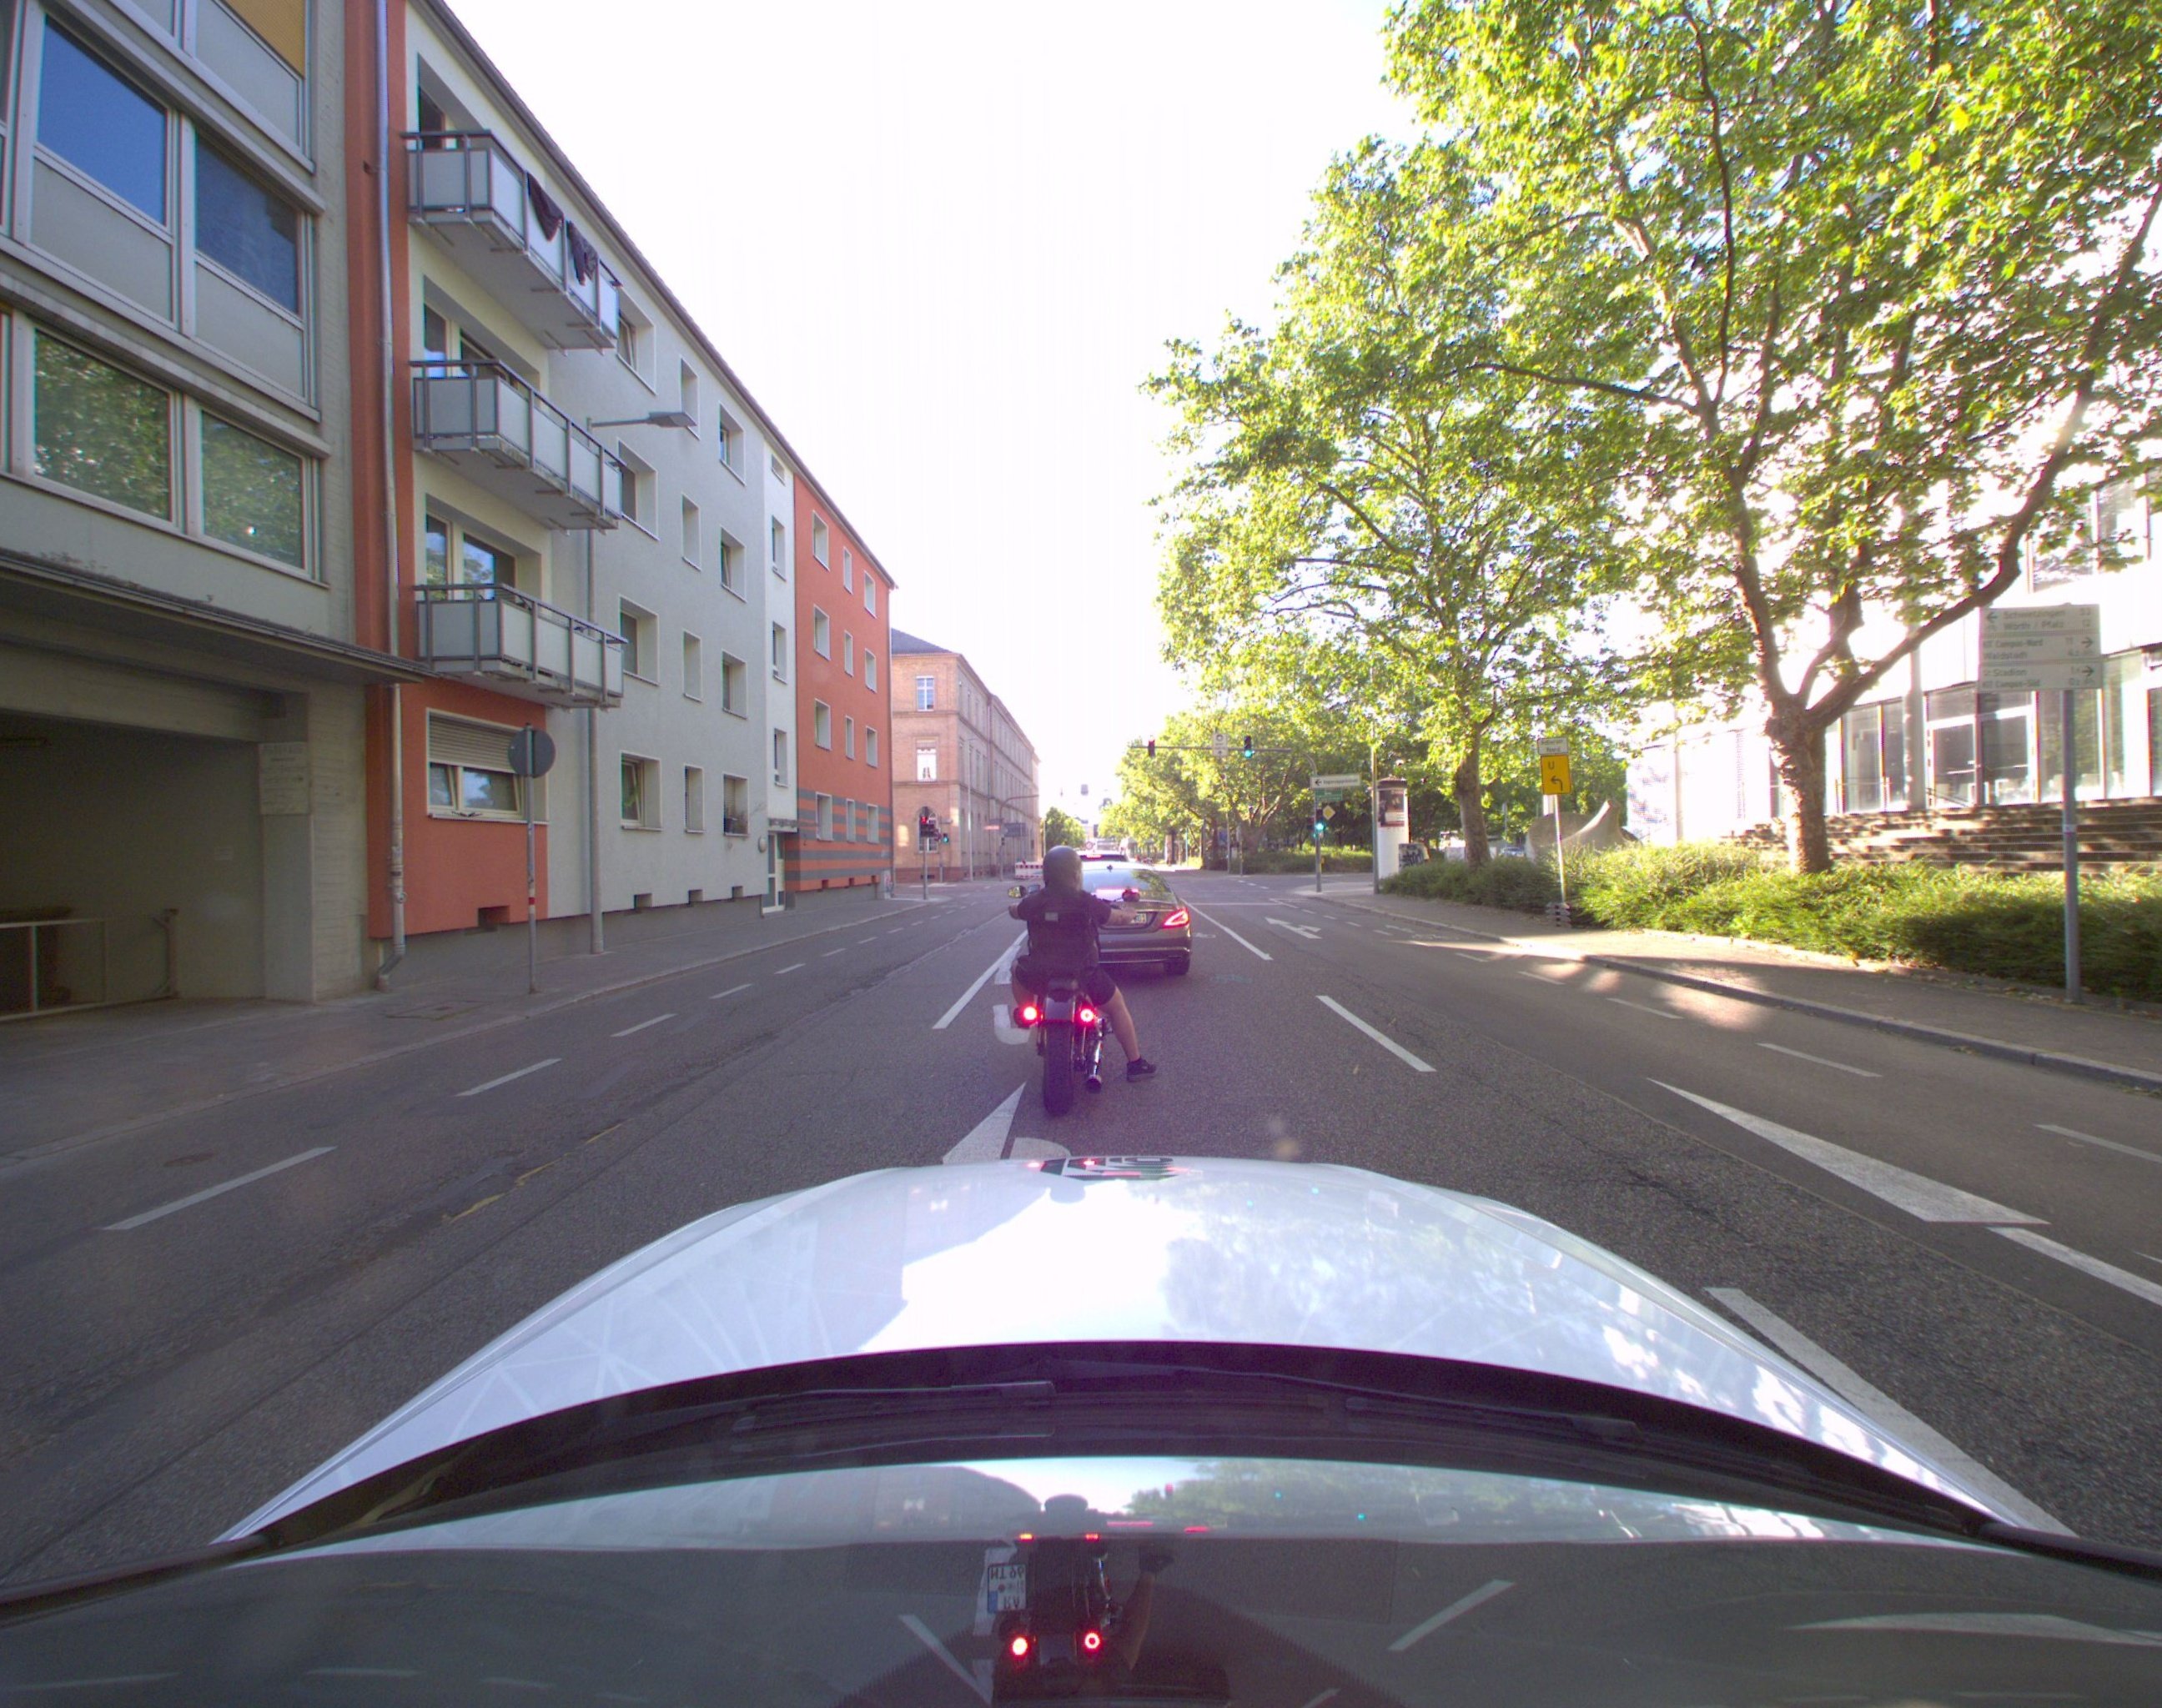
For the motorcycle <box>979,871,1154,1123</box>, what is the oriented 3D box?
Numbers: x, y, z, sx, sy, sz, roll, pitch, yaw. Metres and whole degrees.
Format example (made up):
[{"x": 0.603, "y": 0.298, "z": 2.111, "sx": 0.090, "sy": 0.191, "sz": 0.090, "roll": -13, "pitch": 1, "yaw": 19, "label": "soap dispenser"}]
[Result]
[{"x": -0.045, "y": 0.813, "z": 5.662, "sx": 0.958, "sy": 1.357, "sz": 2.321, "roll": 0, "pitch": -1, "yaw": 2, "label": "motorcycle"}]

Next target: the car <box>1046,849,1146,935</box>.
[{"x": 0.264, "y": 0.695, "z": 16.897, "sx": 1.808, "sy": 1.536, "sz": 3.847, "roll": -1, "pitch": 0, "yaw": -1, "label": "car"}]

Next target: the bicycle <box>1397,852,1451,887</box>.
[{"x": 11.926, "y": 0.511, "z": 28.298, "sx": 2.186, "sy": 1.172, "sz": 0.710, "roll": 0, "pitch": -1, "yaw": -37, "label": "bicycle"}]

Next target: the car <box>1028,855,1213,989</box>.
[{"x": 0.312, "y": 0.757, "z": 11.241, "sx": 1.900, "sy": 1.441, "sz": 4.279, "roll": -1, "pitch": 0, "yaw": -6, "label": "car"}]

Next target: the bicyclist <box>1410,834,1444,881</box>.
[{"x": 12.069, "y": 0.125, "z": 28.421, "sx": 0.940, "sy": 1.582, "sz": 0.710, "roll": 0, "pitch": -1, "yaw": -37, "label": "bicyclist"}]

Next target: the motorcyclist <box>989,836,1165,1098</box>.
[{"x": -0.010, "y": 0.688, "z": 5.392, "sx": 1.057, "sy": 1.582, "sz": 0.908, "roll": 0, "pitch": -1, "yaw": 1, "label": "motorcyclist"}]

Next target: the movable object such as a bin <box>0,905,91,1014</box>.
[{"x": -11.329, "y": 1.096, "z": 8.649, "sx": 0.736, "sy": 1.074, "sz": 0.716, "roll": 0, "pitch": -1, "yaw": 2, "label": "movable object such as a bin"}]
